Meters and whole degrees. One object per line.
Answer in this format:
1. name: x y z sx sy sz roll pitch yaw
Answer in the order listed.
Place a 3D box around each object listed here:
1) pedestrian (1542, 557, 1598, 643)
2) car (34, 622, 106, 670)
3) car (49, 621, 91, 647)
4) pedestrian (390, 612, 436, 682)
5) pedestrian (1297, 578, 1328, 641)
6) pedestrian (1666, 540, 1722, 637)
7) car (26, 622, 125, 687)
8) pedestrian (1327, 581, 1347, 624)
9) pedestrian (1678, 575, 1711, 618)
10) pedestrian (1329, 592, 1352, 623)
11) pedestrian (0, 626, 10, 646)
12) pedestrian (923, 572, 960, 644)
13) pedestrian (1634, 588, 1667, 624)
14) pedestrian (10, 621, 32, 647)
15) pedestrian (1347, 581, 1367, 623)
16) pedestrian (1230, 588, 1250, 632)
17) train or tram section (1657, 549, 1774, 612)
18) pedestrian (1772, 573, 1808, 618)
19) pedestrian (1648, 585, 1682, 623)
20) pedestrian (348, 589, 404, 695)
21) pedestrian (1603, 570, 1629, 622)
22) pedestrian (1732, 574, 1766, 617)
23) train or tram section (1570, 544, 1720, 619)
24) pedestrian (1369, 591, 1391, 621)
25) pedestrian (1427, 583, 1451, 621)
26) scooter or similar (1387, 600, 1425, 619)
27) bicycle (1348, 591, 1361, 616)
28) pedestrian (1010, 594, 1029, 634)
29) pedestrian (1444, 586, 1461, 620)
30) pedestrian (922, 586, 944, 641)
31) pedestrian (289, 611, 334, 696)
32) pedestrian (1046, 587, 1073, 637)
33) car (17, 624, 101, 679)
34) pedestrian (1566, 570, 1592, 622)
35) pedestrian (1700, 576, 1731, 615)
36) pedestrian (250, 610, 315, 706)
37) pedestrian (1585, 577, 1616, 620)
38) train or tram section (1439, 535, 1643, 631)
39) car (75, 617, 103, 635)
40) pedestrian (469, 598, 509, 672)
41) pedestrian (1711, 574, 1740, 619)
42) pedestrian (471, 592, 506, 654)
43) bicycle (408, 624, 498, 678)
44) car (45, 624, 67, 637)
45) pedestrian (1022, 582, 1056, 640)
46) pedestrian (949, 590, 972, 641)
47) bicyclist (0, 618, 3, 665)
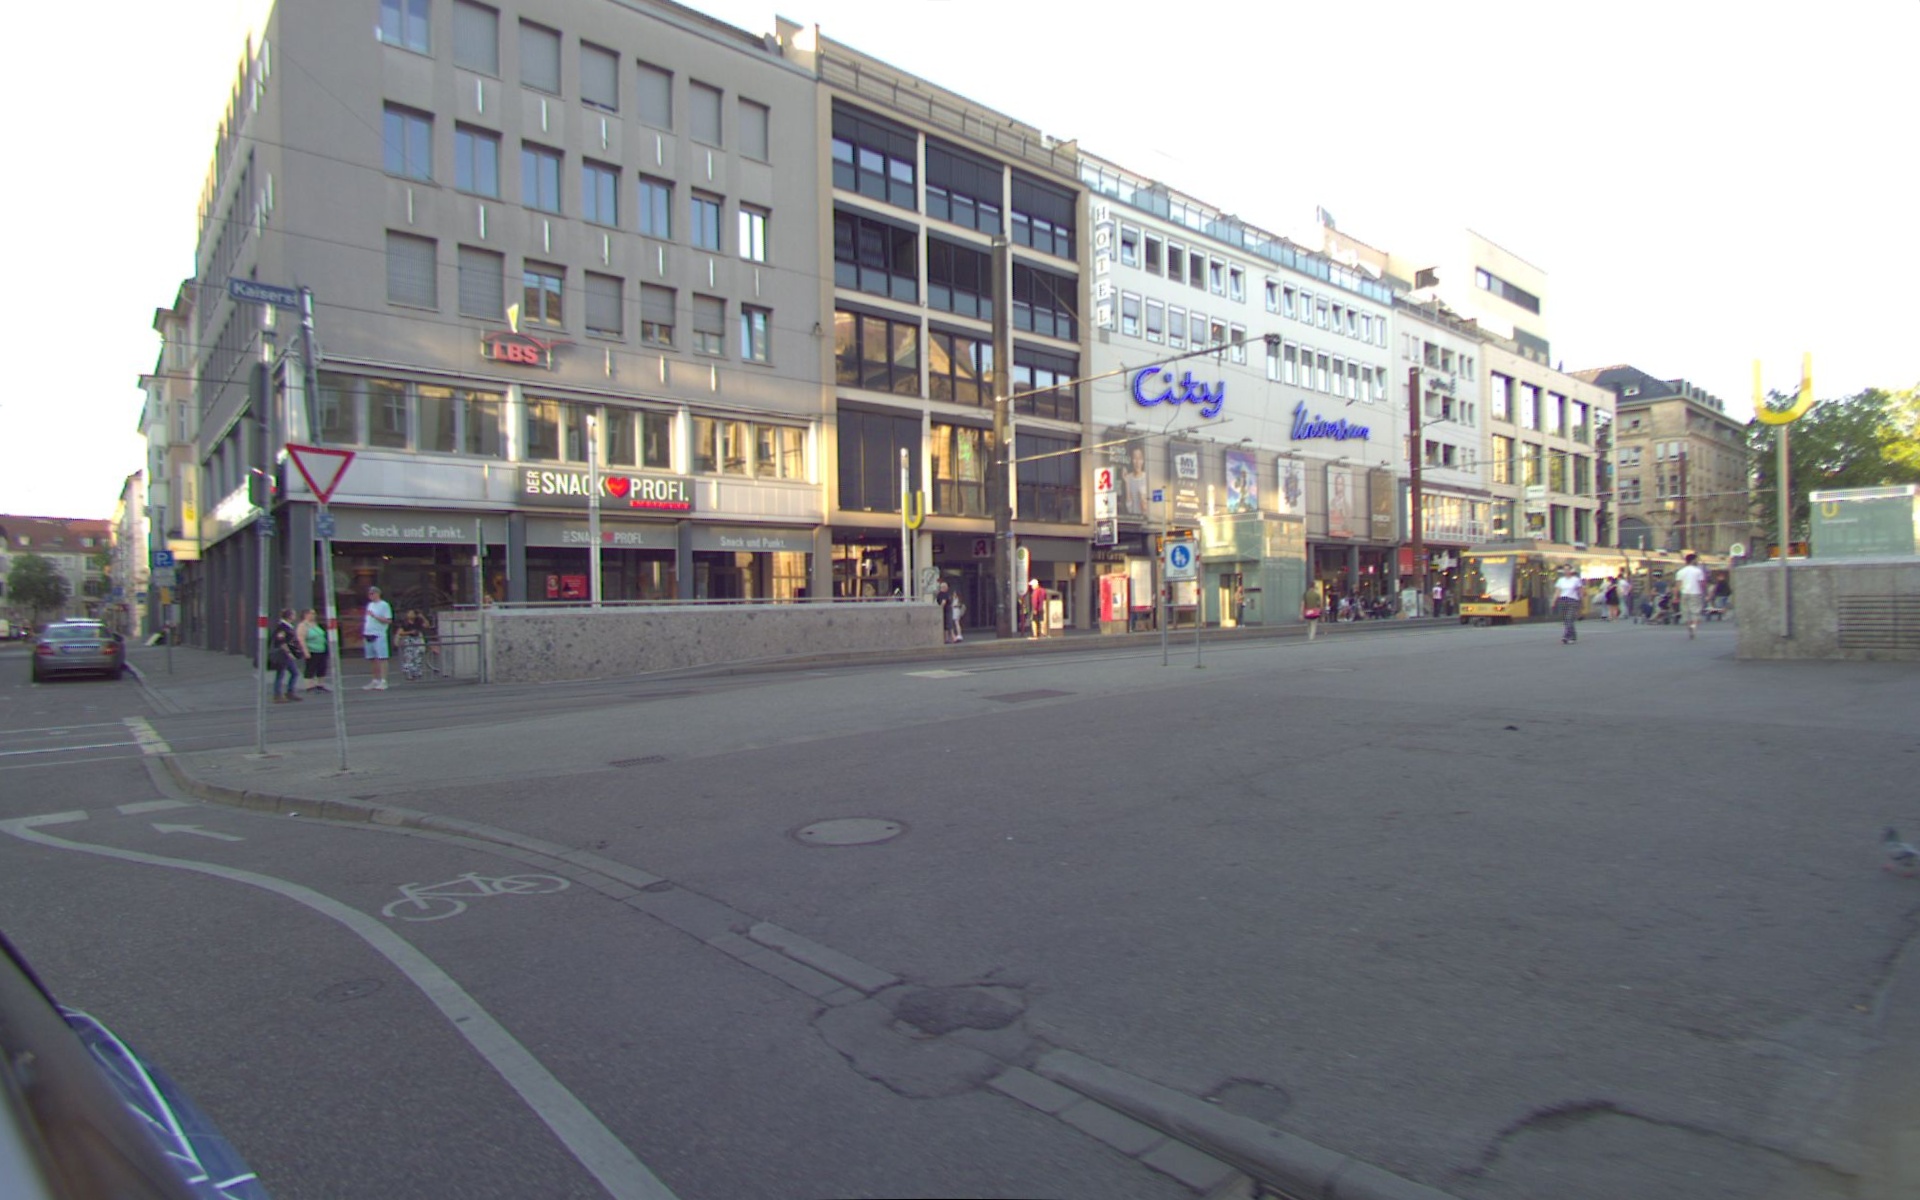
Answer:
1. pedestrian: 13.393 0.004 22.229 0.926 1.837 0.776 -1 -2 -45
2. car: -31.047 1.557 35.380 1.772 1.522 4.006 0 -1 -40
3. car: -52.934 1.997 60.266 1.772 1.522 4.006 0 -1 -40
4. pedestrian: -11.497 0.977 21.285 0.675 1.445 0.556 -1 -1 -3
5. pedestrian: 9.906 0.280 28.458 0.717 1.738 0.703 -1 -1 27
6. pedestrian: 15.811 -0.240 21.805 0.903 2.029 0.774 0 0 -40
7. car: -22.953 1.349 26.204 1.773 1.522 4.137 0 -1 -44
8. pedestrian: 15.451 0.118 41.482 0.703 1.738 0.771 -1 -1 18
9. pedestrian: 29.062 -0.153 40.052 0.756 1.674 0.797 -1 0 -30
10. pedestrian: 16.978 0.329 45.188 0.709 1.389 0.710 0 -2 -42
11. pedestrian: -78.296 2.943 82.649 0.962 1.674 0.979 -2 0 -41
12. pedestrian: -0.518 0.232 27.868 0.716 1.939 0.699 -2 -2 44
13. pedestrian: 23.930 0.209 35.076 0.758 1.230 0.795 -1 0 -45
14. pedestrian: -63.971 2.299 68.941 0.856 1.674 0.934 -2 0 -27
15. pedestrian: 16.703 0.082 42.573 0.704 1.738 0.770 -1 -1 20
16. pedestrian: 10.515 0.365 37.999 0.512 1.630 0.498 -2 -2 40
17. train or tram section: 45.325 -1.154 60.426 14.285 3.344 2.813 -1 0 -42
18. pedestrian: 31.086 -0.174 37.910 0.756 1.674 0.797 -1 0 -30
19. pedestrian: 23.732 0.135 34.090 0.758 1.230 0.795 -1 0 -45
20. pedestrian: -11.006 0.775 19.072 0.775 1.941 0.700 -2 -2 41
21. pedestrian: 23.540 -0.151 36.297 0.734 1.837 0.810 -2 0 34
22. pedestrian: 31.498 -0.176 40.418 0.756 1.674 0.797 -1 0 -30
23. train or tram section: 34.669 -0.909 50.817 14.285 3.344 2.813 -1 0 -42
24. pedestrian: 19.627 0.303 47.322 0.709 1.389 0.710 0 -2 -42
25. pedestrian: 22.420 0.095 47.349 0.698 1.738 0.776 0 -2 -41
26. scooter or similar: 20.538 0.444 46.642 1.503 0.837 0.559 -1 -1 -2
27. bicycle: 18.378 0.171 47.115 0.432 1.150 1.605 -2 0 24
28. pedestrian: 2.315 0.538 39.575 0.509 1.559 0.511 -2 -2 41
29. pedestrian: 25.442 0.144 52.313 0.602 1.740 0.600 -2 -2 42
30. pedestrian: -0.840 0.429 32.002 0.620 1.738 0.604 -1 -1 5
31. pedestrian: -11.781 0.967 18.375 0.605 1.505 0.548 -2 -2 41
32. pedestrian: 3.220 0.378 32.726 0.595 1.600 0.630 0 -1 -33
33. car: -27.162 1.498 30.460 1.773 1.522 4.137 0 -1 -44
34. pedestrian: 22.496 -0.147 36.777 0.734 1.837 0.810 -2 0 34
35. pedestrian: 32.351 -0.188 43.354 0.756 1.674 0.797 -1 0 -30
36. pedestrian: -11.199 0.948 16.740 0.678 1.553 0.604 -1 -1 7
37. pedestrian: 24.147 -0.053 38.132 0.757 1.591 0.795 -1 0 -43
38. train or tram section: 24.057 -0.687 41.258 14.285 3.344 2.813 -1 0 -42
39. car: -74.998 2.234 87.161 1.772 1.522 4.006 0 -1 -40
40. pedestrian: -11.333 0.826 24.349 0.699 1.738 0.717 0 -2 -43
41. pedestrian: 28.810 -0.125 38.098 0.792 1.674 0.760 -2 0 33
42. pedestrian: -13.401 0.660 28.756 0.699 1.738 0.717 0 -2 -43
43. bicycle: -11.678 1.159 23.351 1.771 1.116 0.501 -3 0 -36
44. car: -105.495 3.533 118.070 1.772 1.522 4.006 0 -1 -40
45. pedestrian: 2.345 0.322 30.090 0.772 1.710 0.718 0 -1 -17
46. pedestrian: 0.020 0.485 31.941 0.620 1.600 0.604 -1 -1 7
47. bicyclist: -31.449 1.360 32.508 0.985 1.513 0.858 0 -2 -42
